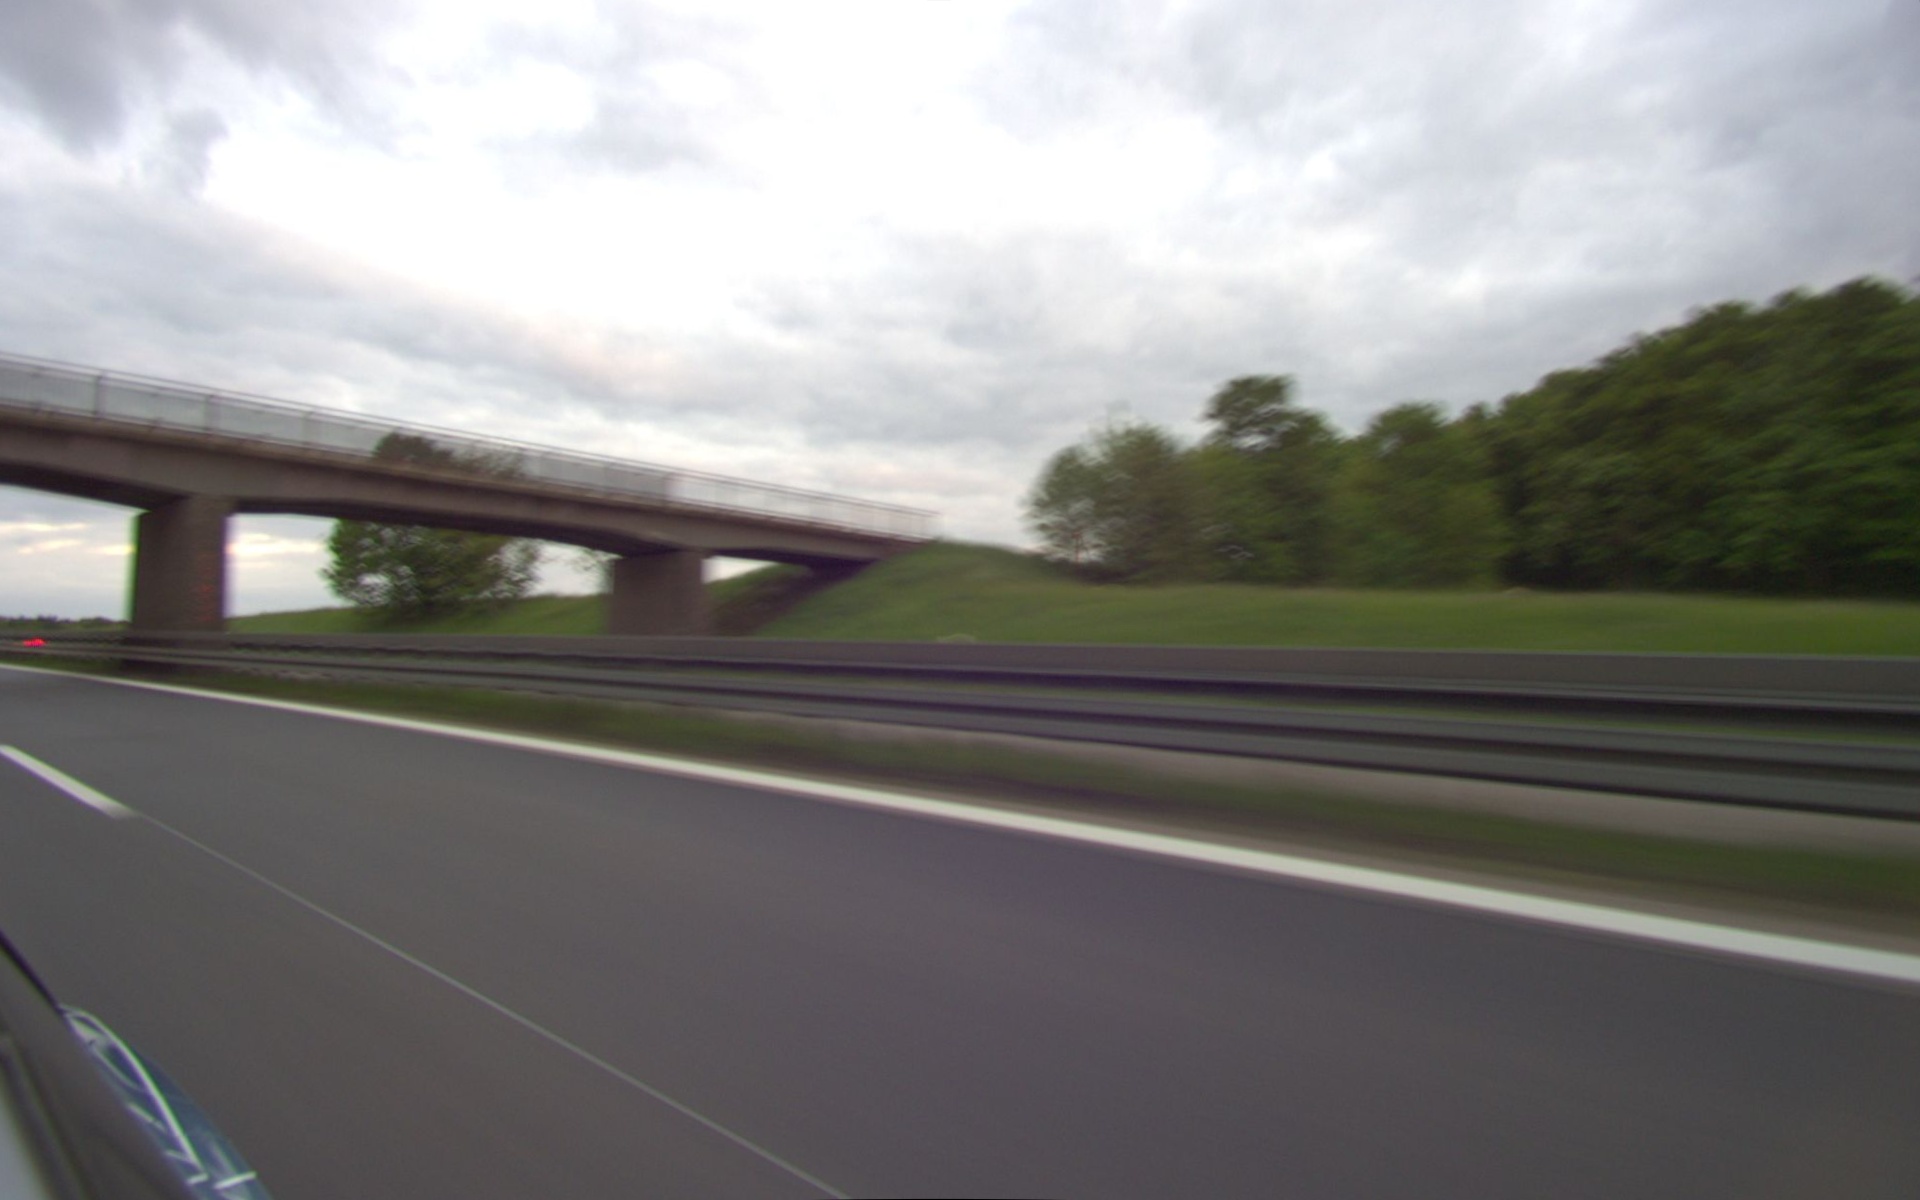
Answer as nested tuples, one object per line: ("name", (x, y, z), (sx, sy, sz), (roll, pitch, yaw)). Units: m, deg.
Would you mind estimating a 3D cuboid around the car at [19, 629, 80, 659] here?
("car", (-48.636, 2.337, 54.053), (3.994, 1.430, 1.717), (-2, 1, 38))
